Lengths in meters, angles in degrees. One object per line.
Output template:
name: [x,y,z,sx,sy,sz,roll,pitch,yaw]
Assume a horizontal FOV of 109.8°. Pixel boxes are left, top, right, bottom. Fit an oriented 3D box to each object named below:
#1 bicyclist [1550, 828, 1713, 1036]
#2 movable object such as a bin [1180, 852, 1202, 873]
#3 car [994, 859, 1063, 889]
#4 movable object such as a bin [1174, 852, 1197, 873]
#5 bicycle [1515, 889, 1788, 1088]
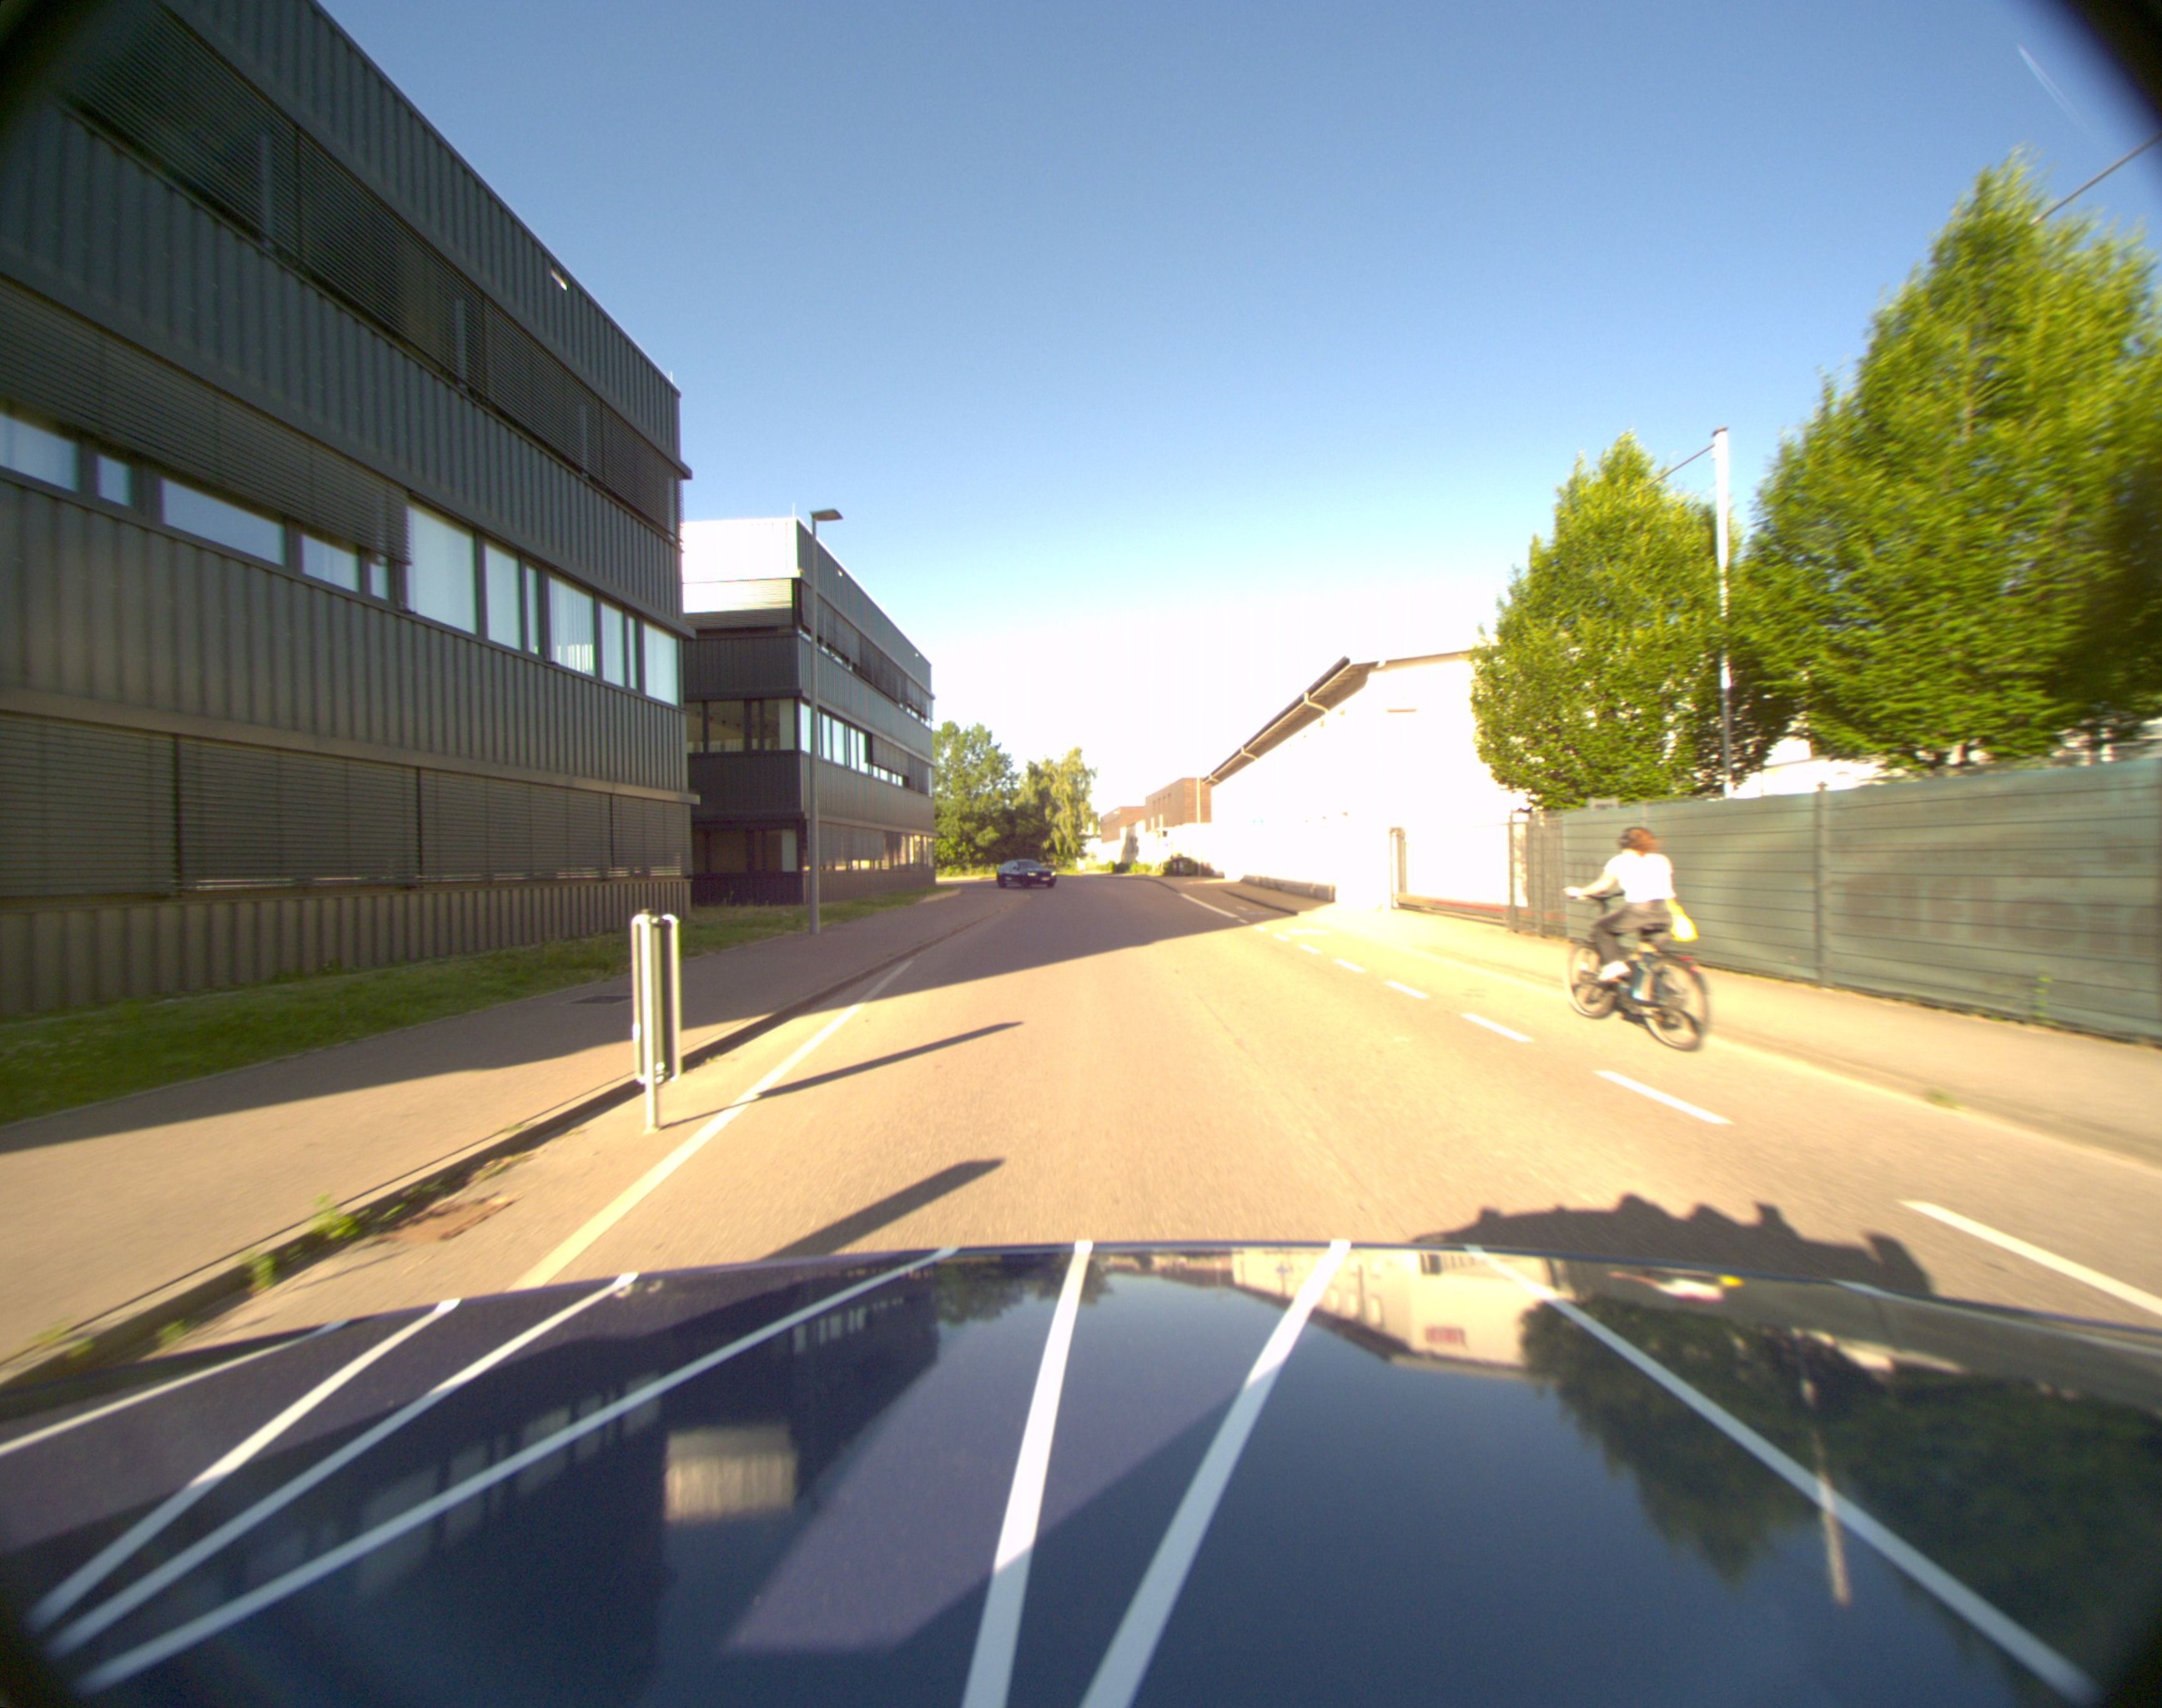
bicyclist: [4.573,0.612,6.370,0.748,1.618,0.833,-1,0,1]
movable object such as a bin: [8.016,0.616,55.517,1.202,1.463,1.372,-2,0,-9]
car: [-3.218,1.158,45.720,2.042,1.623,4.601,-2,1,-35]
movable object such as a bin: [7.794,0.622,56.883,1.365,1.463,1.288,-2,0,-9]
bicycle: [4.593,0.989,6.375,0.669,1.281,2.172,-1,0,1]
